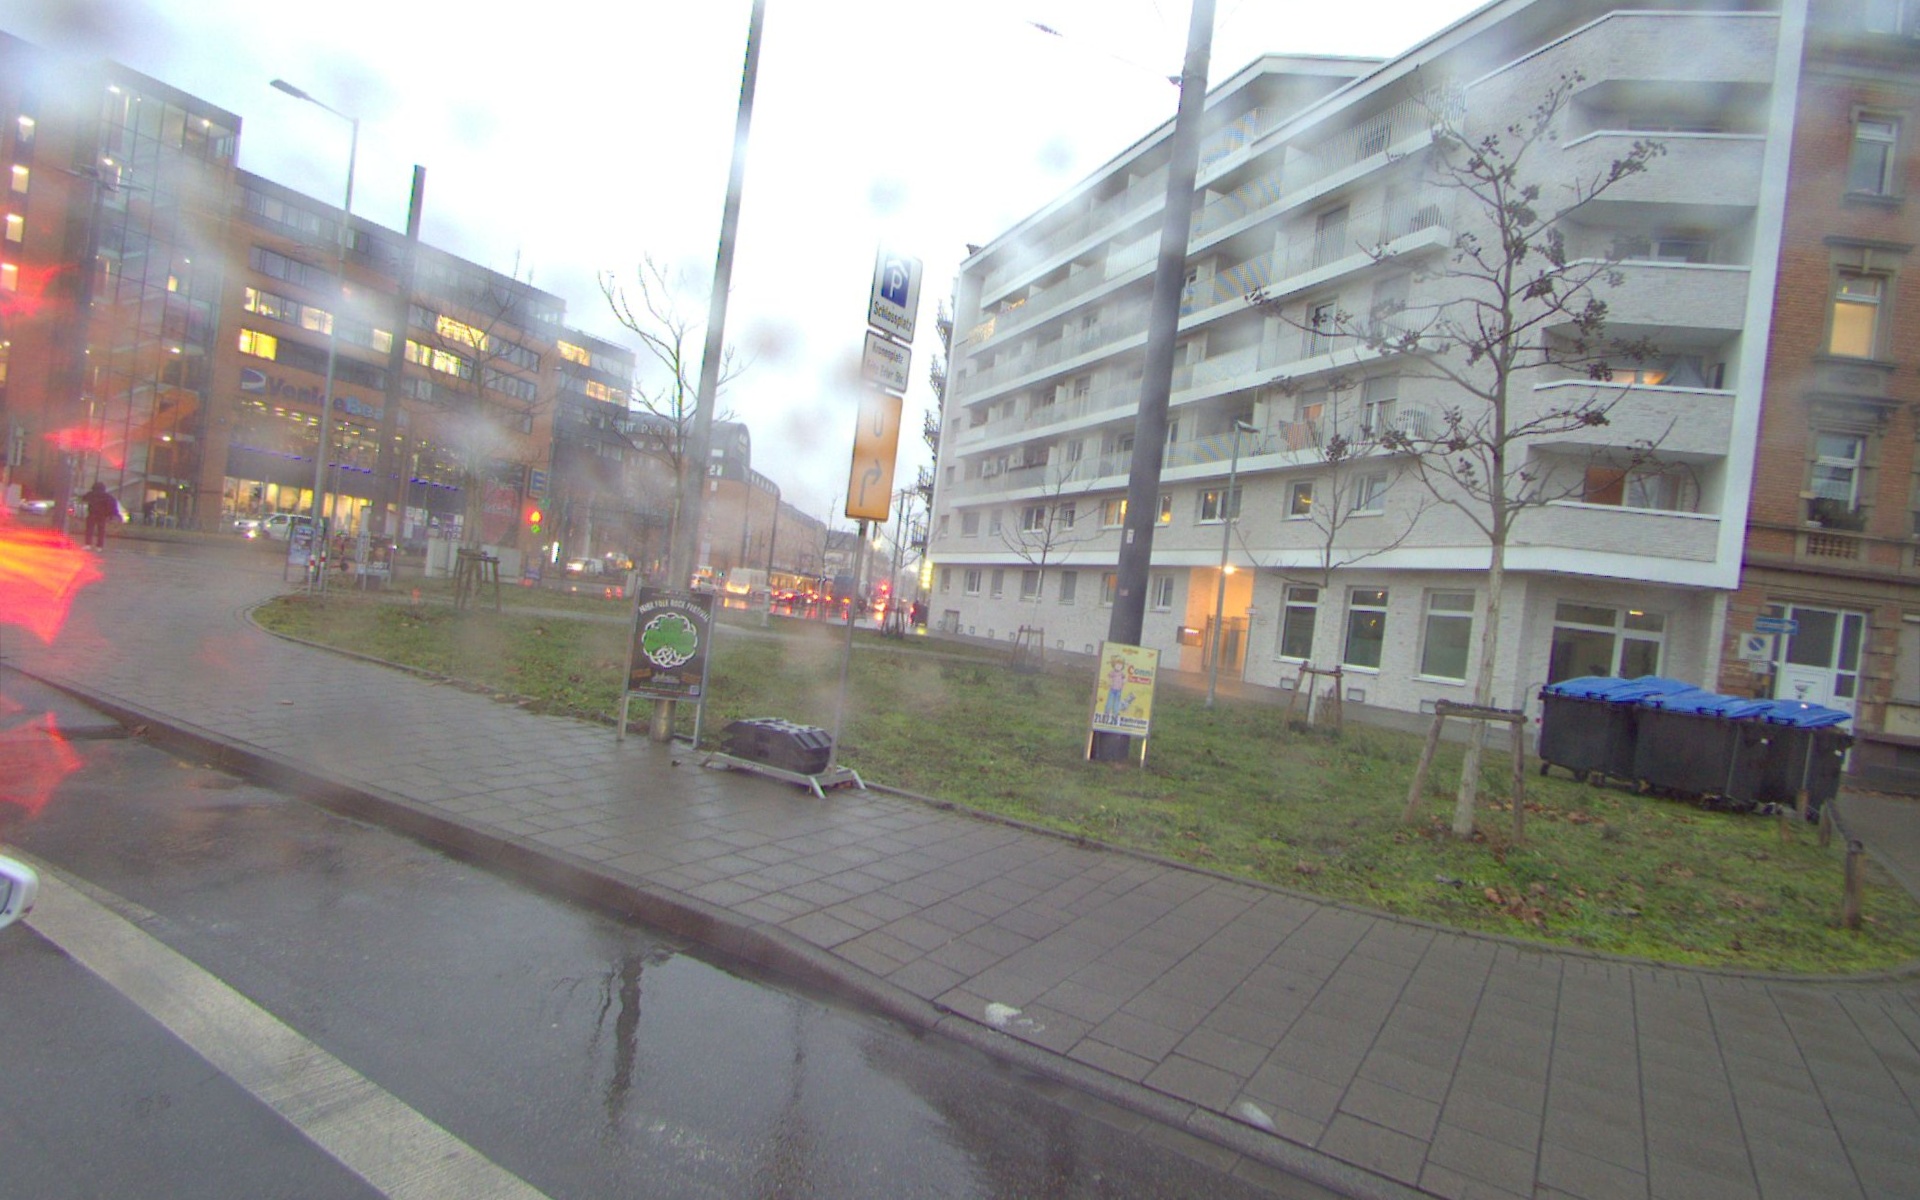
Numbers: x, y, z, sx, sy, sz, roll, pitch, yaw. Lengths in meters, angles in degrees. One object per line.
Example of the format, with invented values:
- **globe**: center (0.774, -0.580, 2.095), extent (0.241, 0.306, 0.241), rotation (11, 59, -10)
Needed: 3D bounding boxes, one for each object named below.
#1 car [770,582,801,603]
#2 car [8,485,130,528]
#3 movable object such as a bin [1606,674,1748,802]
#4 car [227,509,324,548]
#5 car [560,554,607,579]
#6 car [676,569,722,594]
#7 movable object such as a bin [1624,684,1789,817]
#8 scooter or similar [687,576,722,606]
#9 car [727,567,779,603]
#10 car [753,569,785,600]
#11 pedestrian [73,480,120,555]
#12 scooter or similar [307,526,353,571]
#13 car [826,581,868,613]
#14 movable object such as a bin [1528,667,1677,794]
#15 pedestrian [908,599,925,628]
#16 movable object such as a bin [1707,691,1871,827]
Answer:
- **car**: center (-15.808, -0.642, 91.370), extent (1.494, 1.538, 3.474), rotation (7, -1, 11)
- **car**: center (-46.555, -4.849, 52.682), extent (1.833, 1.504, 4.338), rotation (7, -1, 25)
- **movable object such as a bin**: center (10.345, 1.974, 14.547), extent (1.038, 1.595, 1.135), rotation (7, 0, -19)
- **car**: center (-42.333, -4.419, 62.363), extent (1.754, 1.698, 4.651), rotation (7, -1, 22)
- **car**: center (-33.946, -2.990, 90.846), extent (1.893, 1.740, 4.613), rotation (7, -1, 8)
- **car**: center (-19.735, -1.399, 76.181), extent (1.613, 1.514, 3.686), rotation (7, 0, 14)
- **movable object such as a bin**: center (9.604, 1.919, 12.988), extent (1.038, 1.450, 1.220), rotation (7, 0, -19)
- **scooter or similar**: center (-12.358, -0.447, 48.725), extent (0.658, 1.241, 1.556), rotation (7, -2, 26)
- **car**: center (-17.411, -1.218, 84.776), extent (1.962, 2.456, 5.978), rotation (7, -1, 10)
- **car**: center (-20.235, -1.564, 106.826), extent (2.321, 2.861, 6.355), rotation (7, -1, -5)
- **pedestrian**: center (-23.279, -2.212, 27.132), extent (0.768, 1.901, 0.629), rotation (6, 1, -36)
- **scooter or similar**: center (-18.676, -1.515, 29.833), extent (0.327, 1.221, 1.309), rotation (7, 0, 4)
- **car**: center (-12.004, -0.282, 107.737), extent (2.317, 2.860, 6.364), rotation (7, -1, 12)
- **movable object such as a bin**: center (9.034, 1.812, 14.193), extent (1.038, 1.529, 1.247), rotation (7, 0, -19)
- **pedestrian**: center (-2.598, 0.815, 59.987), extent (0.623, 1.652, 0.719), rotation (7, 1, -19)
- **movable object such as a bin**: center (10.733, 2.046, 13.062), extent (1.038, 1.503, 1.135), rotation (7, 0, -19)
